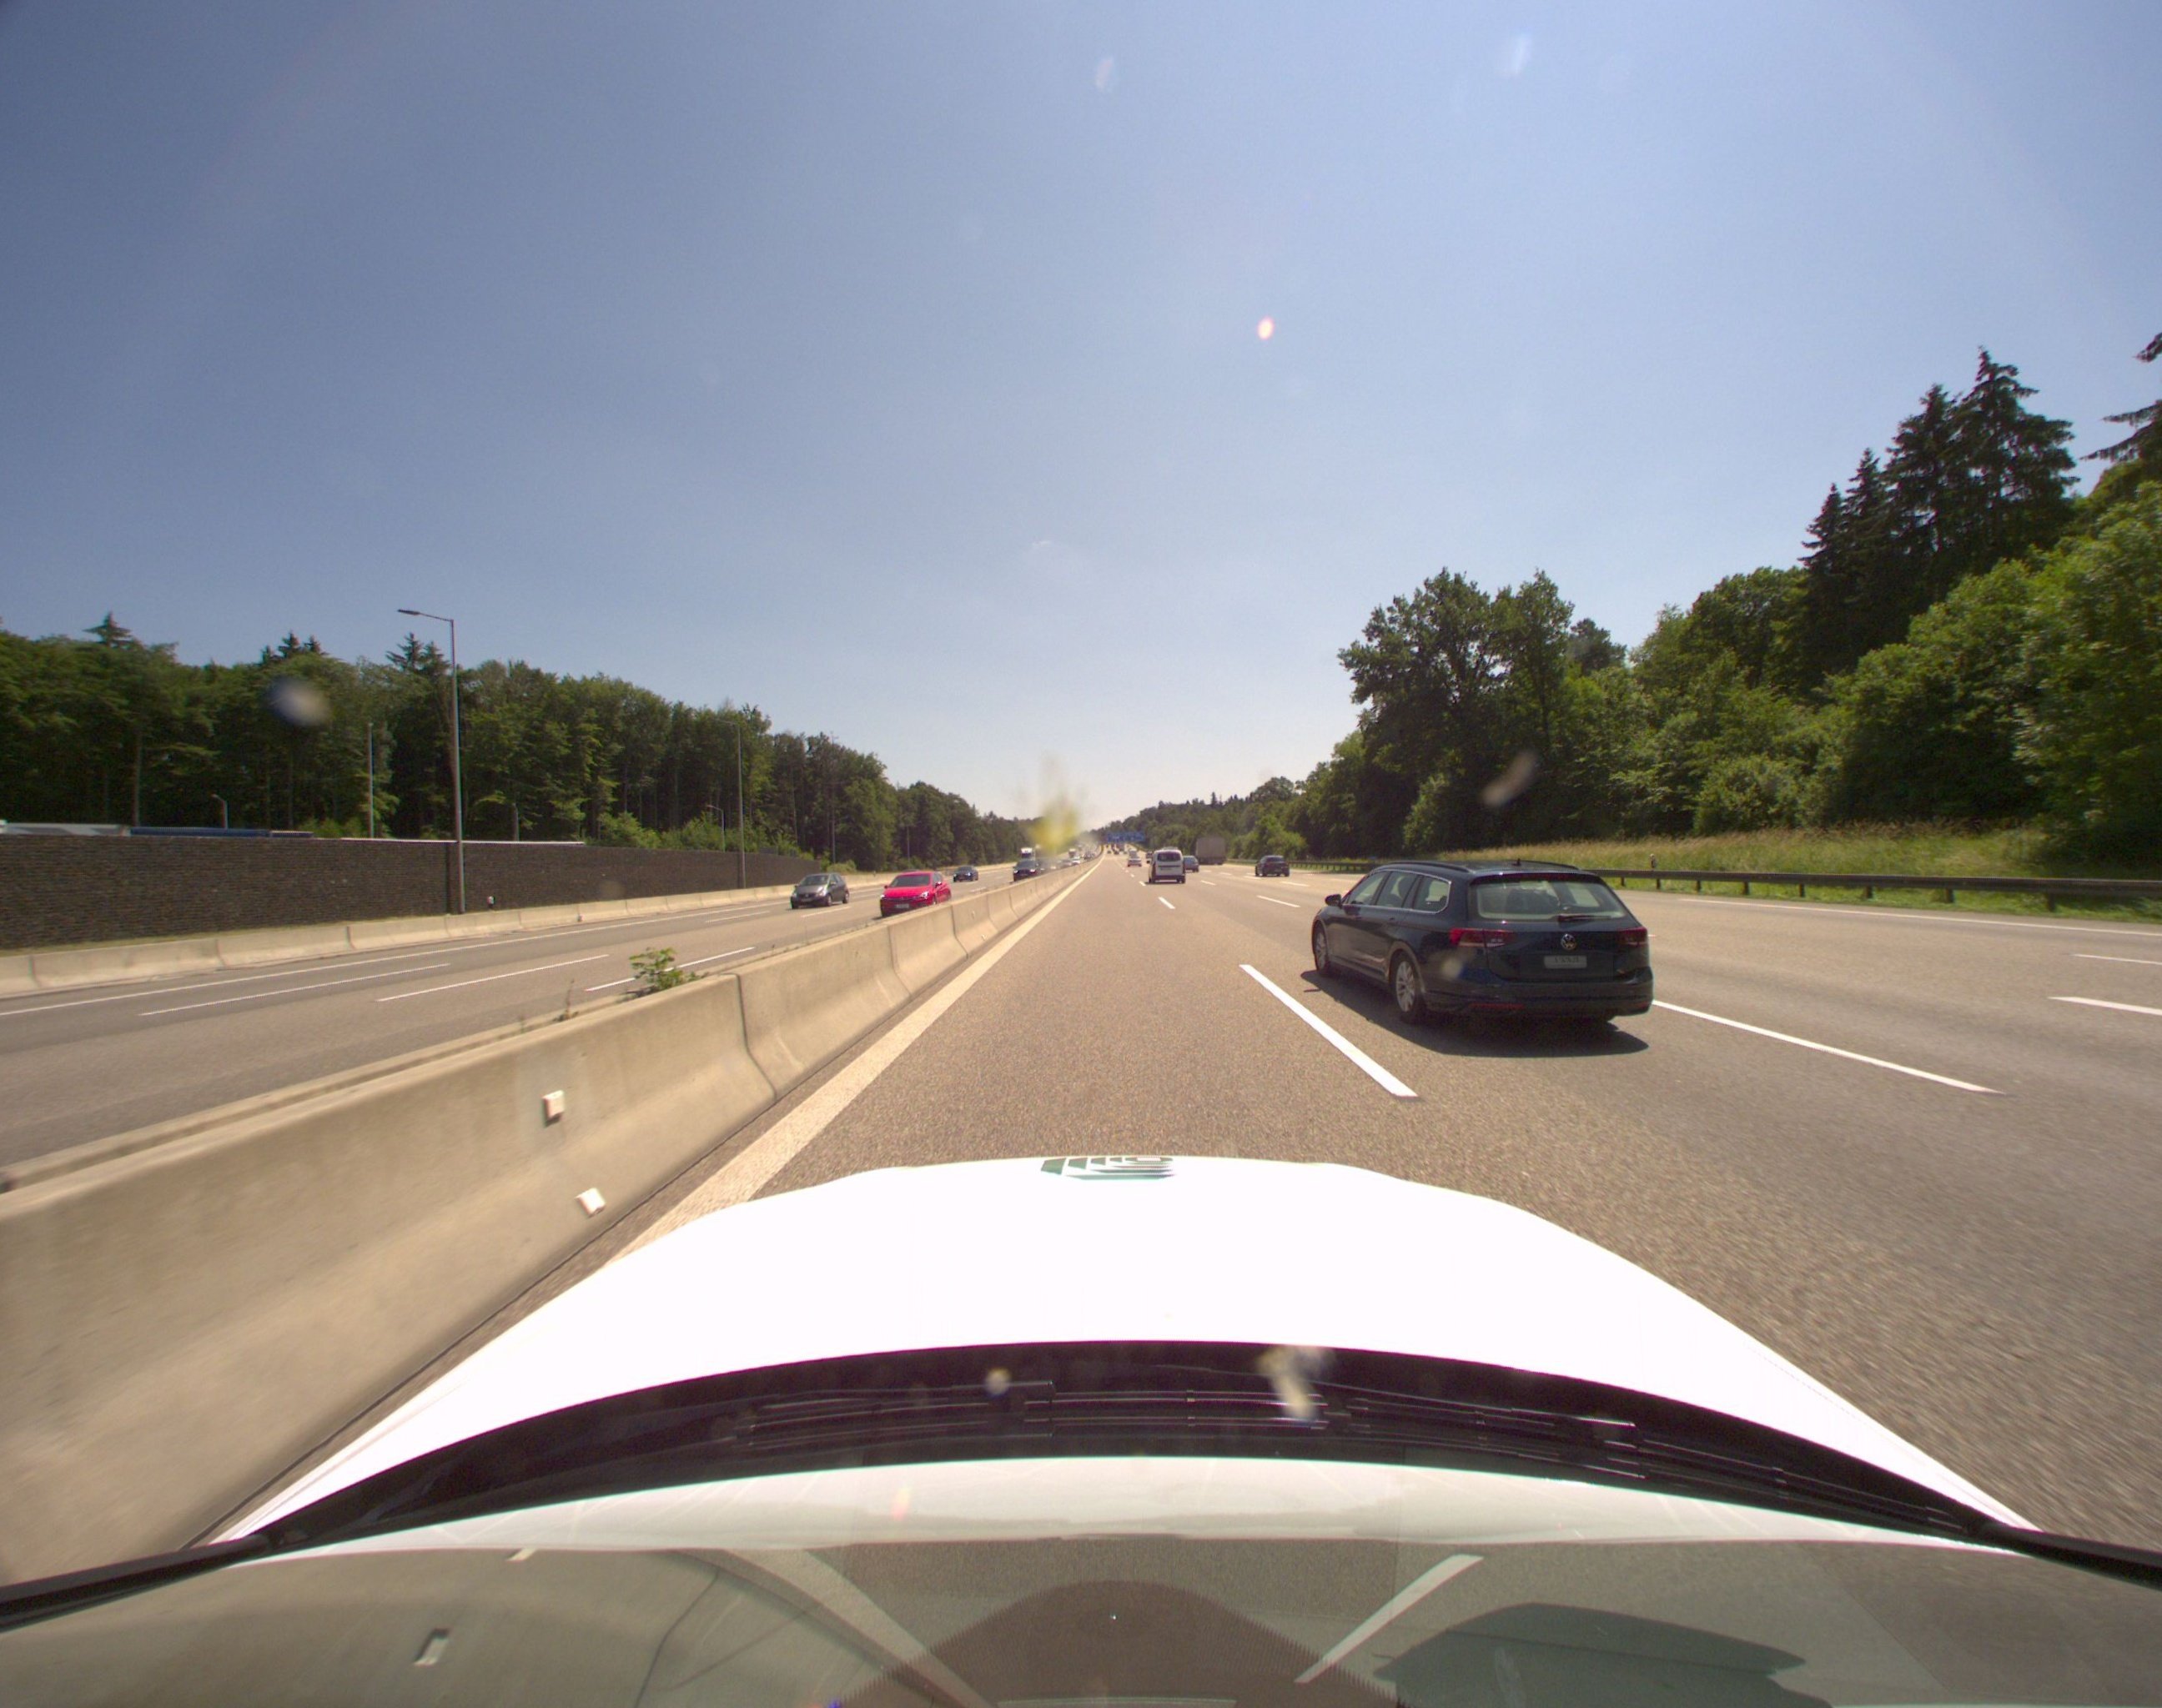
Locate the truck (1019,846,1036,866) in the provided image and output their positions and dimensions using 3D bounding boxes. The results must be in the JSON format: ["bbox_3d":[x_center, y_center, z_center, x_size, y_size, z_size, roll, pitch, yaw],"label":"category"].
[{"bbox_3d":[-11.552,0.432,177.349,2.825,4.197,10.595,-2,0,0],"label":"truck"}]

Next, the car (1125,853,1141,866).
[{"bbox_3d":[7.015,0.732,110.070,1.836,1.629,4.555,-3,0,2],"label":"car"}]

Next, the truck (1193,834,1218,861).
[{"bbox_3d":[19.649,-1.073,128.693,3.242,4.106,5.990,-1,1,2],"label":"truck"}]

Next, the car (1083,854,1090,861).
[{"bbox_3d":[1.768,1.084,250.600,1.891,1.953,5.659,-3,0,2],"label":"car"}]

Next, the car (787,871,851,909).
[{"bbox_3d":[-12.490,1.686,39.133,1.717,1.555,4.057,-2,0,-1],"label":"car"}]

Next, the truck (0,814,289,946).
[{"bbox_3d":[-44.960,1.061,37.770,11.605,5.612,3.188,-2,0,-44],"label":"truck"}]

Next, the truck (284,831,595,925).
[{"bbox_3d":[-44.316,1.378,57.441,16.807,5.612,3.408,-2,0,-44],"label":"truck"}]

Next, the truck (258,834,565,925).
[{"bbox_3d":[-47.680,1.560,59.156,16.807,5.612,3.184,-2,0,-44],"label":"truck"}]

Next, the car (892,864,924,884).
[{"bbox_3d":[-15.807,1.833,74.569,1.987,1.621,4.214,-3,0,0],"label":"car"}]

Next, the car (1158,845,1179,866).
[{"bbox_3d":[11.326,0.173,105.696,2.135,2.652,5.712,-1,1,2],"label":"car"}]

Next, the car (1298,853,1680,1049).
[{"bbox_3d":[3.705,0.727,8.564,1.723,1.447,4.964,0,0,3],"label":"car"}]

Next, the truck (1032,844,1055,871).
[{"bbox_3d":[-5.950,0.569,130.307,3.036,4.136,6.951,-3,0,1],"label":"truck"}]

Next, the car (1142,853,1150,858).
[{"bbox_3d":[18.081,0.435,226.395,1.829,1.338,3.644,-3,0,2],"label":"car"}]

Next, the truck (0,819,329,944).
[{"bbox_3d":[-46.140,1.139,41.257,11.605,5.612,3.326,-2,0,-44],"label":"truck"}]

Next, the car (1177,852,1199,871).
[{"bbox_3d":[9.368,0.646,71.738,1.498,1.500,3.651,-3,0,2],"label":"car"}]

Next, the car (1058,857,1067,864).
[{"bbox_3d":[-3.845,1.329,172.007,1.717,1.506,4.460,-2,0,0],"label":"car"}]

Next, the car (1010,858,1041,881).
[{"bbox_3d":[-4.365,1.181,64.937,1.987,1.662,5.754,-3,0,0],"label":"car"}]

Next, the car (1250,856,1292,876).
[{"bbox_3d":[12.762,0.774,54.947,1.666,1.273,4.287,-1,0,-2],"label":"car"}]

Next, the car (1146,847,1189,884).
[{"bbox_3d":[4.696,0.600,44.697,1.853,1.825,4.613,-3,0,1],"label":"car"}]

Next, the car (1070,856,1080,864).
[{"bbox_3d":[-1.090,1.053,148.479,1.742,1.457,4.156,-2,0,0],"label":"car"}]

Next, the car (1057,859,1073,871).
[{"bbox_3d":[-2.268,1.553,116.055,1.987,1.487,5.135,-5,0,0],"label":"car"}]

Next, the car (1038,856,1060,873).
[{"bbox_3d":[-3.490,1.142,89.111,1.987,1.662,4.972,-3,0,1],"label":"car"}]

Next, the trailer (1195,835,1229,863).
[{"bbox_3d":[19.486,-0.788,122.088,3.276,3.930,13.895,-1,1,1],"label":"trailer"}]

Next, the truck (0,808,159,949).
[{"bbox_3d":[-45.568,1.067,32.270,11.605,5.612,3.188,-2,0,-44],"label":"truck"}]

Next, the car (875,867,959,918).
[{"bbox_3d":[-5.687,1.280,28.854,1.724,1.513,5.046,-2,0,2],"label":"car"}]

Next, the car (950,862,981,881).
[{"bbox_3d":[-10.908,1.600,77.538,1.986,1.621,5.755,-3,0,1],"label":"car"}]

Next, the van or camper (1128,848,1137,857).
[{"bbox_3d":[15.821,-0.565,250.225,2.635,2.538,6.505,-2,0,2],"label":"van or camper"}]

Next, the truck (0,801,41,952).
[{"bbox_3d":[-44.194,0.987,28.889,8.538,5.612,3.188,-2,0,-44],"label":"truck"}]
